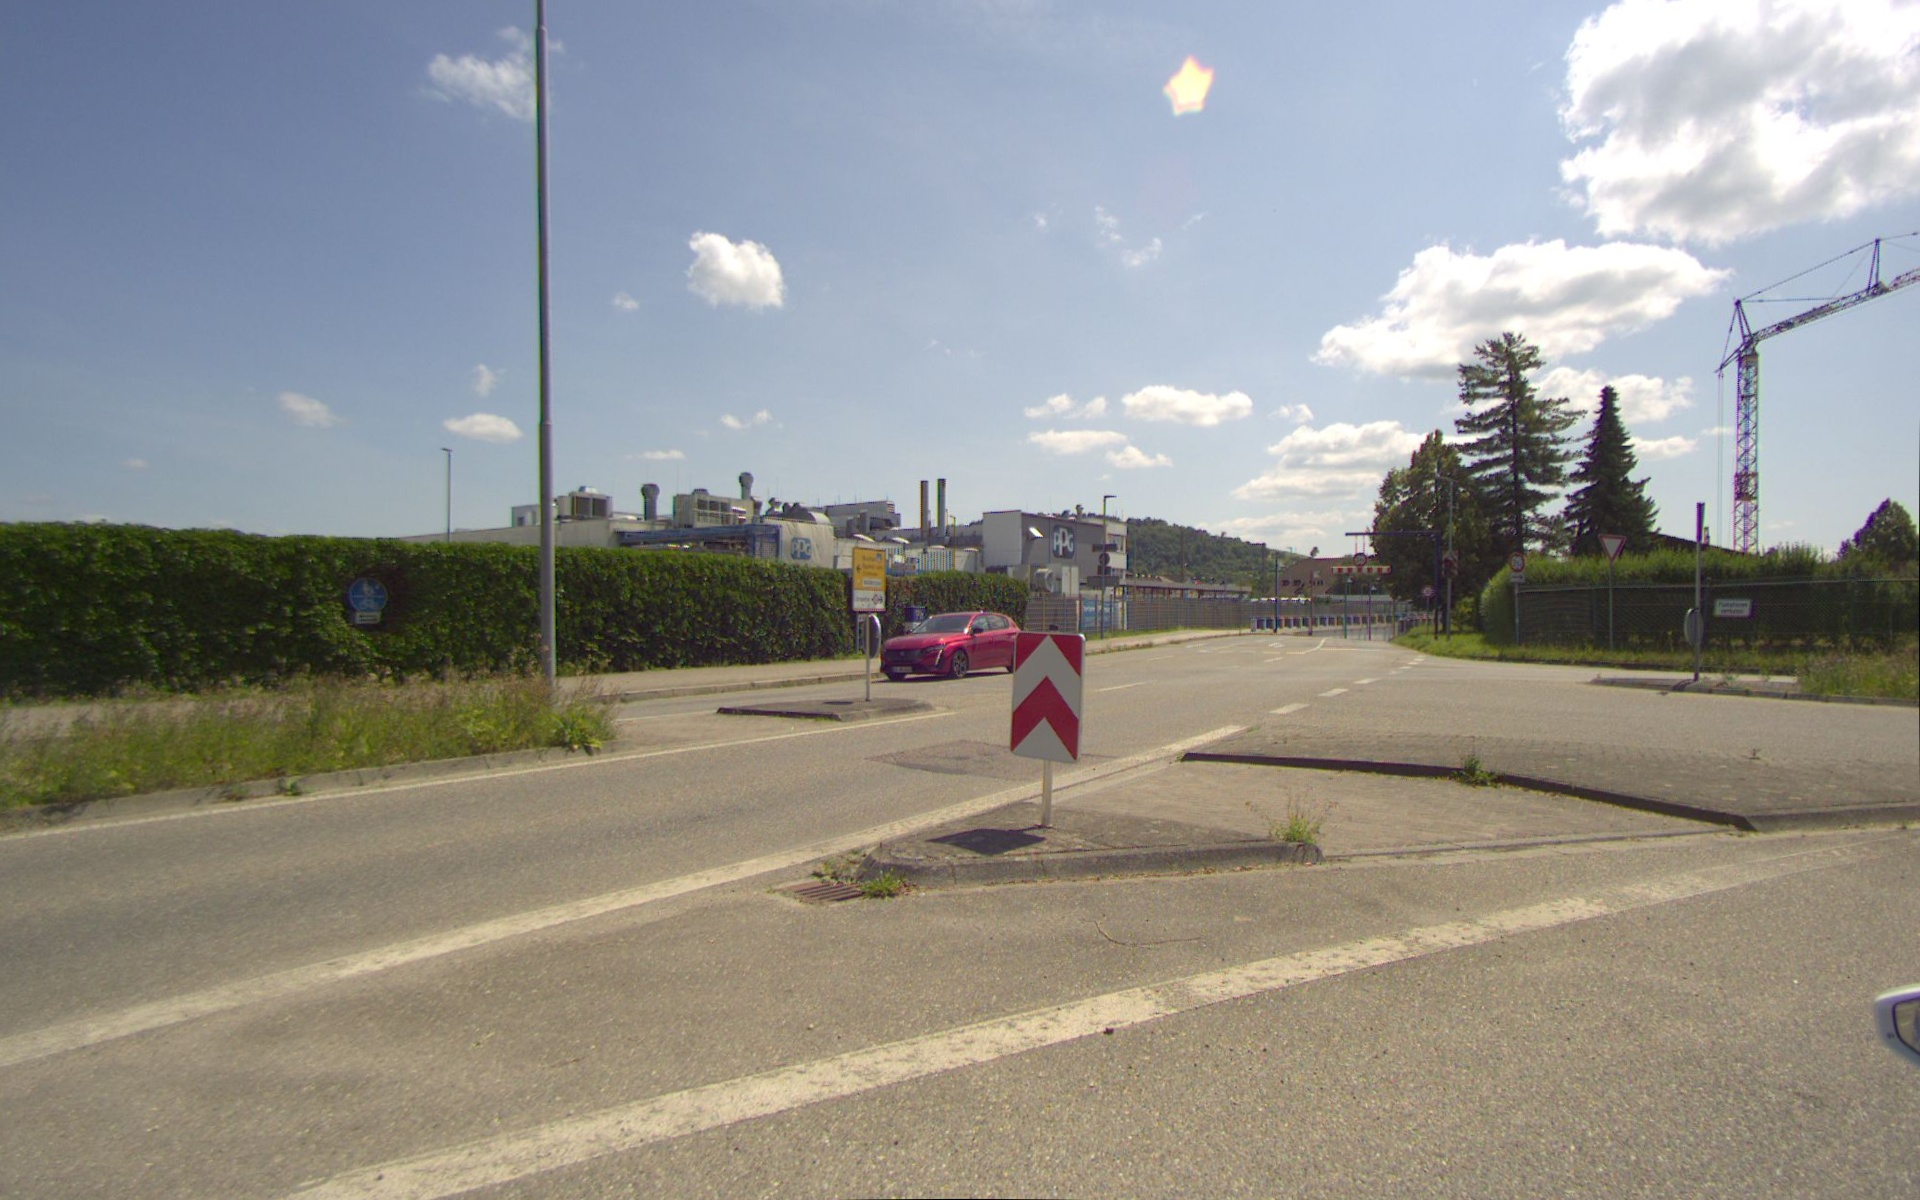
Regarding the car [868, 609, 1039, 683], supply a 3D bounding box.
[{"bbox_3d":[-0.031,0.970,22.534,1.853,1.483,4.377,-1,-1,31],"label":"car"}]
